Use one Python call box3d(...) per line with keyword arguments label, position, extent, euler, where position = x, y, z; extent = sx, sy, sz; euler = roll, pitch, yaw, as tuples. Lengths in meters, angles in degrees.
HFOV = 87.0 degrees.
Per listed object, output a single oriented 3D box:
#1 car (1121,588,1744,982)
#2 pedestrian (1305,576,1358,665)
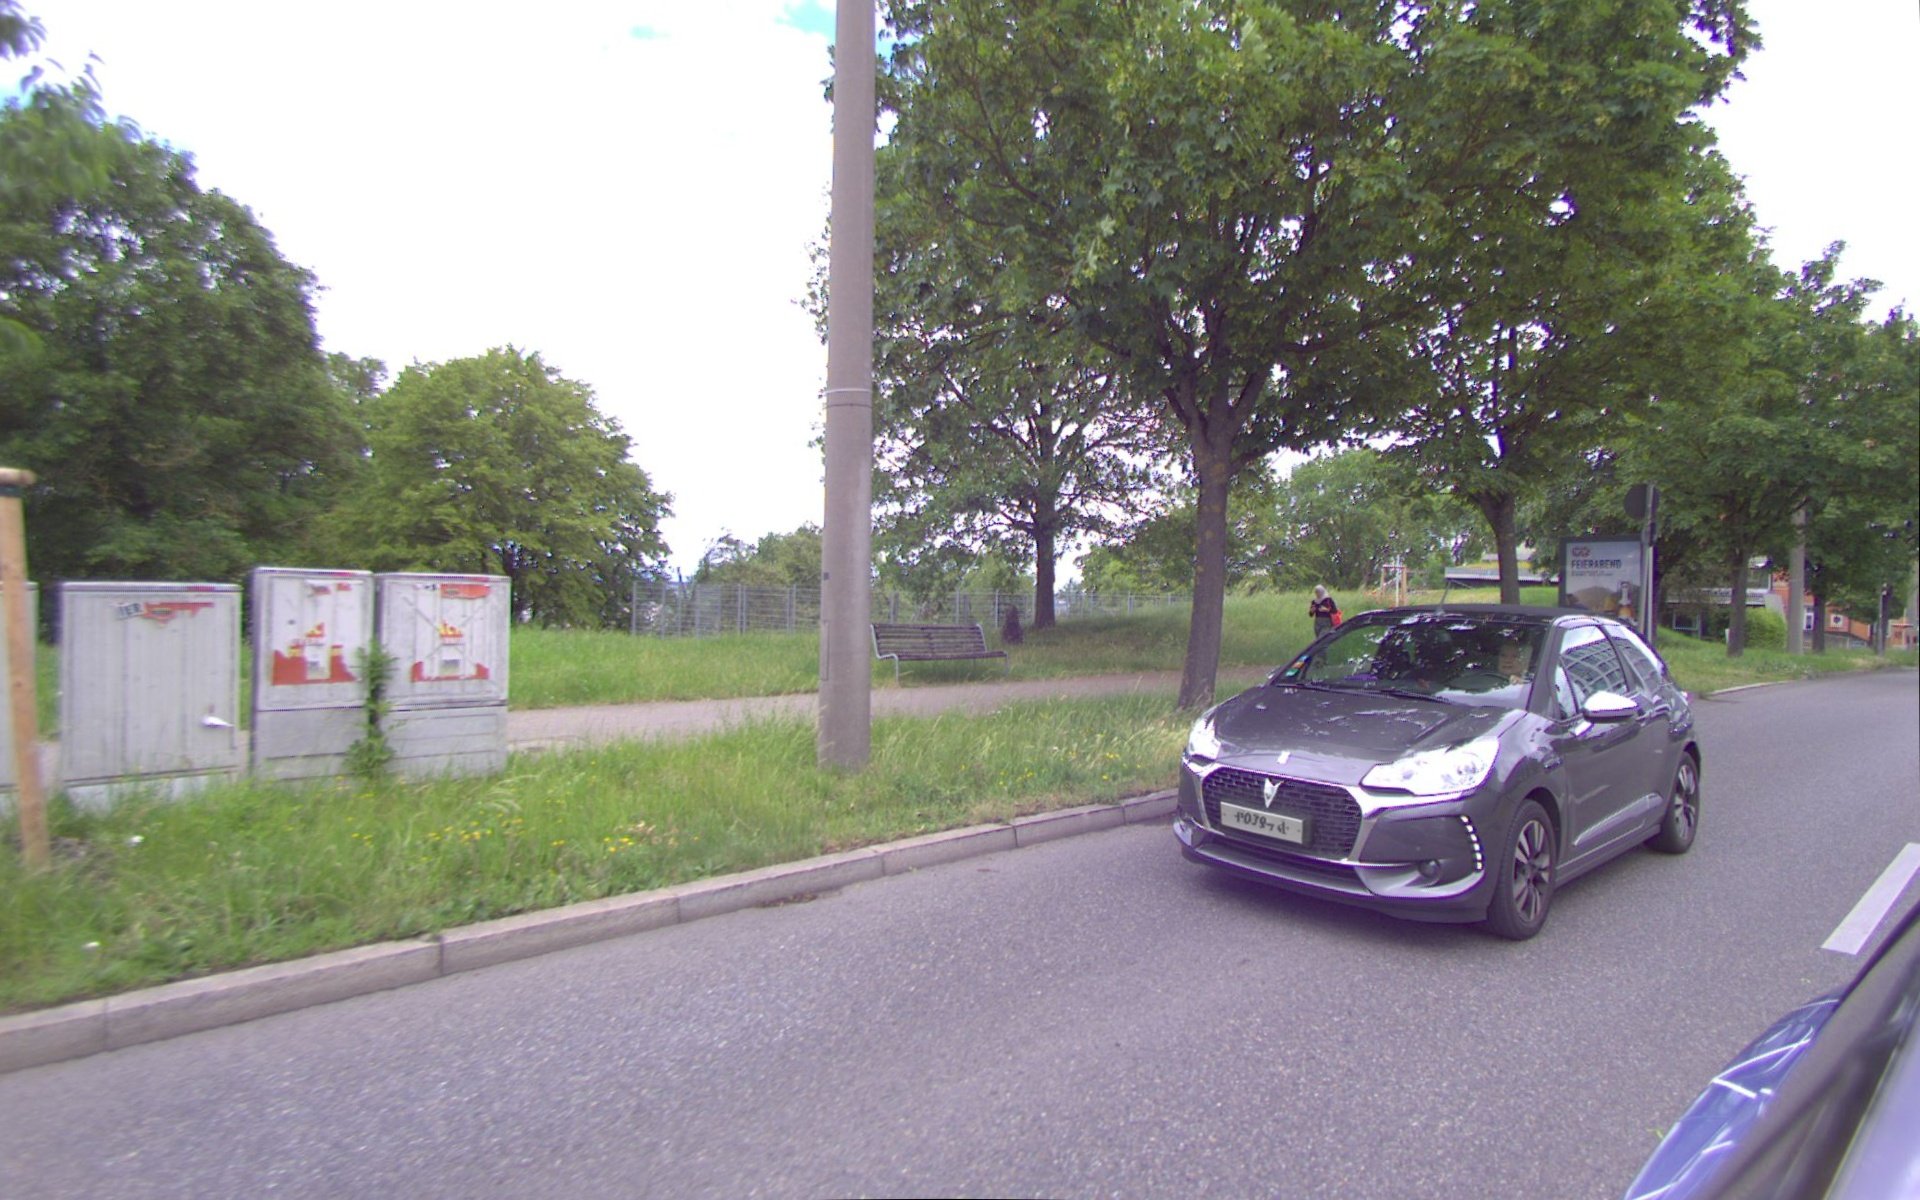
box3d(label="car", position=(2.885, 0.715, 5.759), extent=(3.990, 1.479, 1.704), euler=(1, -1, -40))
box3d(label="pedestrian", position=(7.144, 0.390, 19.470), extent=(0.690, 1.623, 0.542), euler=(2, 4, -40))
